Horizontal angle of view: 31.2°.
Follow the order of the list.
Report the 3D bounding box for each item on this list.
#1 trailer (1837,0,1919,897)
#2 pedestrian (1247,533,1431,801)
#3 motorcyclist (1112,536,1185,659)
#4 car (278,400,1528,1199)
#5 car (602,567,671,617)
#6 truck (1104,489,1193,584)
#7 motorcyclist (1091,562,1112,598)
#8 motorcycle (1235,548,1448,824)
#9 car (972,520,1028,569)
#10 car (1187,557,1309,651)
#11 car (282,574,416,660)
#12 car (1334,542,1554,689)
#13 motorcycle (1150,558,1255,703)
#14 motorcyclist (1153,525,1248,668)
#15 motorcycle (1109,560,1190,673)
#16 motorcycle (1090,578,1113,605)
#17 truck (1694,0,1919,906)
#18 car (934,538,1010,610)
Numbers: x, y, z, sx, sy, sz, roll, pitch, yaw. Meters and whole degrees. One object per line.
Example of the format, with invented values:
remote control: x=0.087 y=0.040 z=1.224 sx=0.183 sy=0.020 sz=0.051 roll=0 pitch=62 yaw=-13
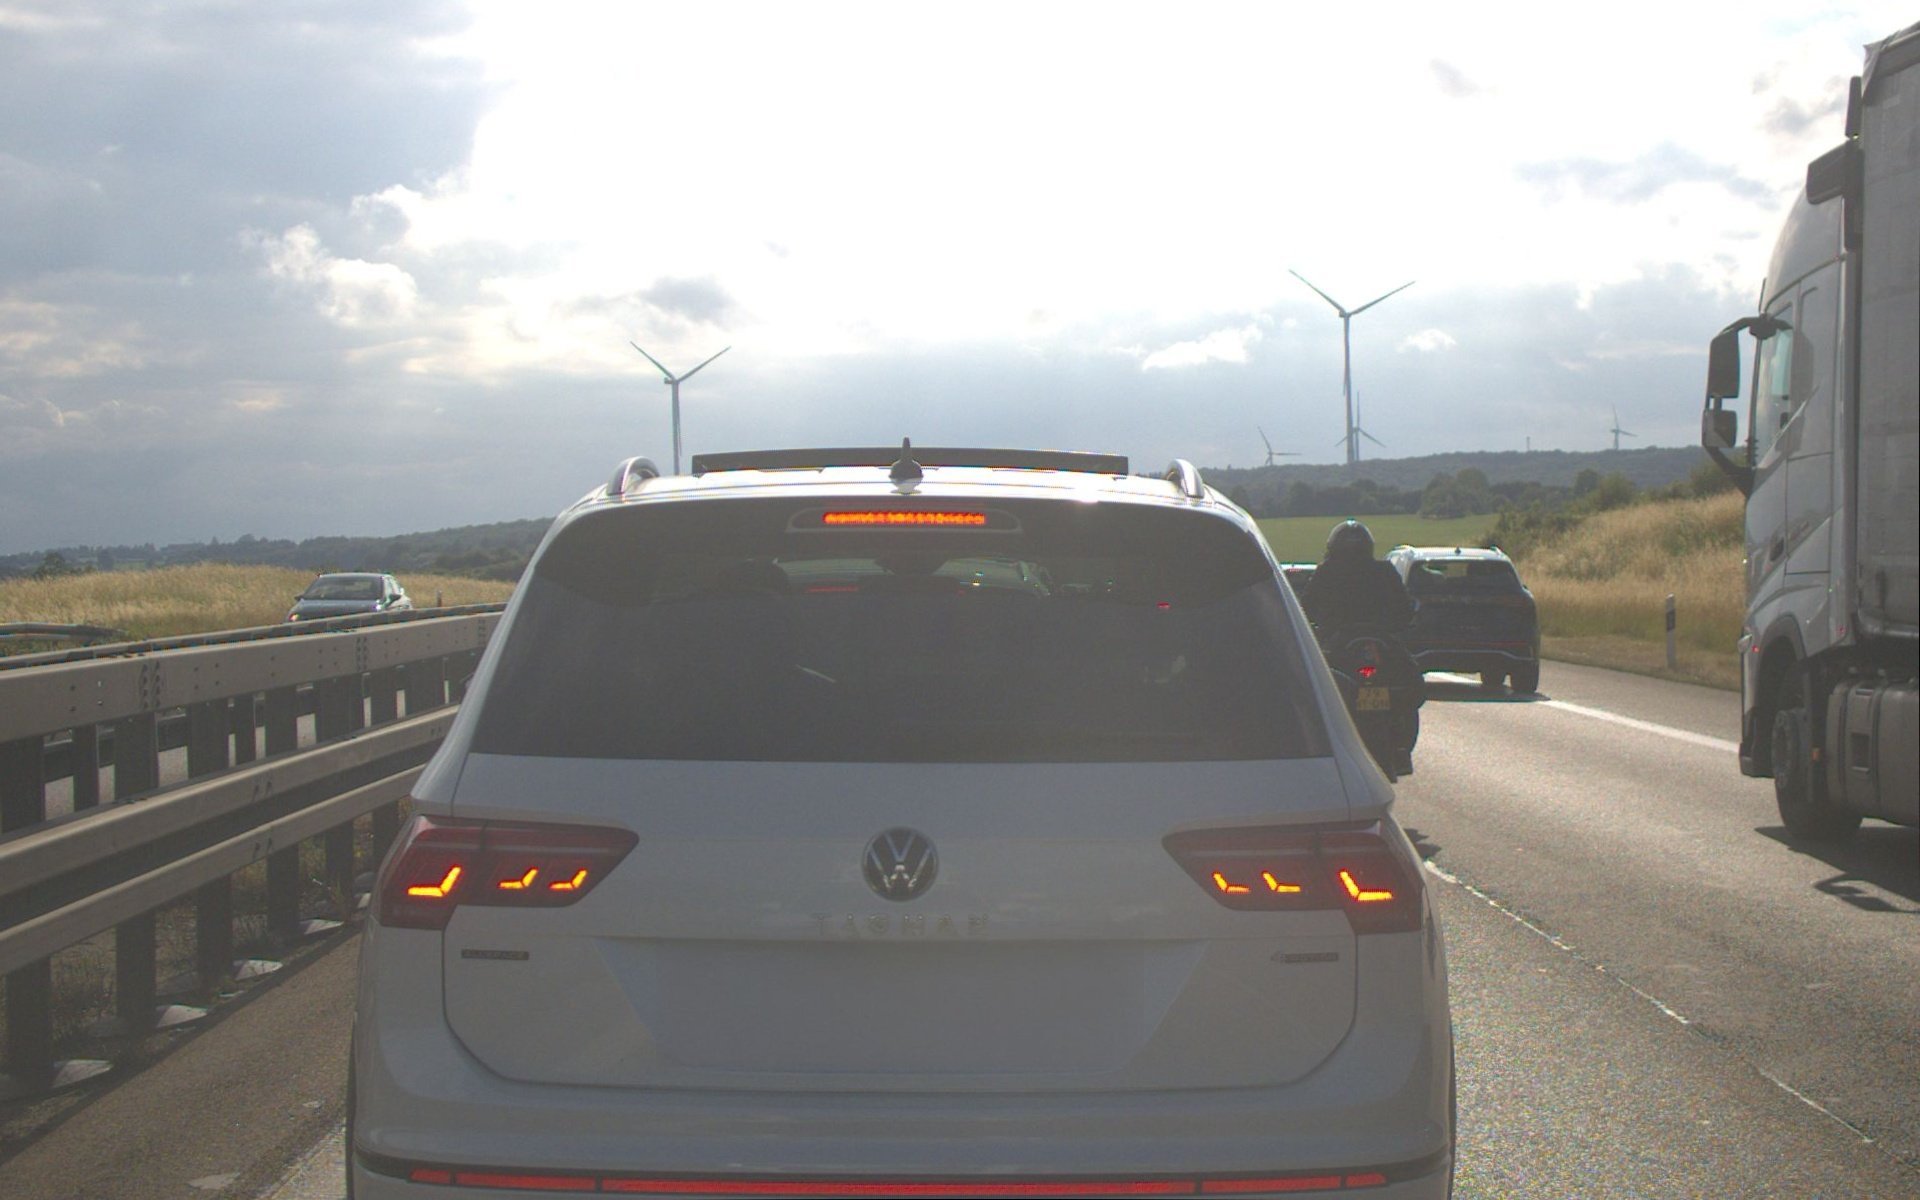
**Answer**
trailer: x=5.734 y=-0.597 z=9.841 sx=2.616 sy=4.027 sz=13.700 roll=0 pitch=1 yaw=-1
pedestrian: x=2.090 y=0.357 z=19.079 sx=0.895 sy=1.450 sz=0.984 roll=0 pitch=0 yaw=-1
motorcyclist: x=2.491 y=-0.034 z=45.491 sx=0.895 sy=1.611 sz=1.022 roll=0 pitch=0 yaw=-1
car: x=-0.099 y=0.535 z=6.874 sx=1.770 sy=1.670 sz=4.000 roll=0 pitch=0 yaw=-1
car: x=-9.683 y=-0.254 z=103.012 sx=1.732 sy=1.480 sz=4.000 roll=0 pitch=0 yaw=0
truck: x=7.397 y=-2.530 z=136.406 sx=3.184 sy=3.581 sz=11.130 roll=0 pitch=1 yaw=1
motorcyclist: x=6.201 y=-0.876 z=150.829 sx=0.849 sy=1.554 sz=0.934 roll=0 pitch=0 yaw=-1
motorcycle: x=2.096 y=0.441 z=19.200 sx=0.895 sy=1.450 sz=2.269 roll=0 pitch=0 yaw=-1
car: x=1.258 y=-1.765 z=110.330 sx=1.704 sy=1.540 sz=4.000 roll=0 pitch=0 yaw=-1
car: x=4.849 y=0.054 z=58.370 sx=1.704 sy=1.540 sz=4.000 roll=0 pitch=0 yaw=-1
car: x=-10.905 y=0.276 z=61.598 sx=1.732 sy=1.480 sz=4.000 roll=0 pitch=0 yaw=0
car: x=5.607 y=0.154 z=40.326 sx=1.821 sy=1.596 sz=4.235 roll=1 pitch=0 yaw=-2
motorcycle: x=2.476 y=0.296 z=35.318 sx=0.895 sy=1.450 sz=1.982 roll=0 pitch=0 yaw=-1
motorcyclist: x=2.463 y=-0.041 z=35.335 sx=0.895 sy=1.450 sz=0.892 roll=0 pitch=0 yaw=-1
motorcycle: x=2.495 y=0.205 z=45.511 sx=0.895 sy=1.450 sz=2.269 roll=0 pitch=0 yaw=-1
motorcycle: x=6.198 y=-0.385 z=150.877 sx=0.895 sy=1.186 sz=2.257 roll=0 pitch=0 yaw=-1
truck: x=5.528 y=-0.676 z=16.393 sx=2.601 sy=4.027 sz=6.120 roll=0 pitch=1 yaw=-1
car: x=0.259 y=-0.608 z=80.044 sx=1.704 sy=1.644 sz=4.000 roll=0 pitch=0 yaw=-1
